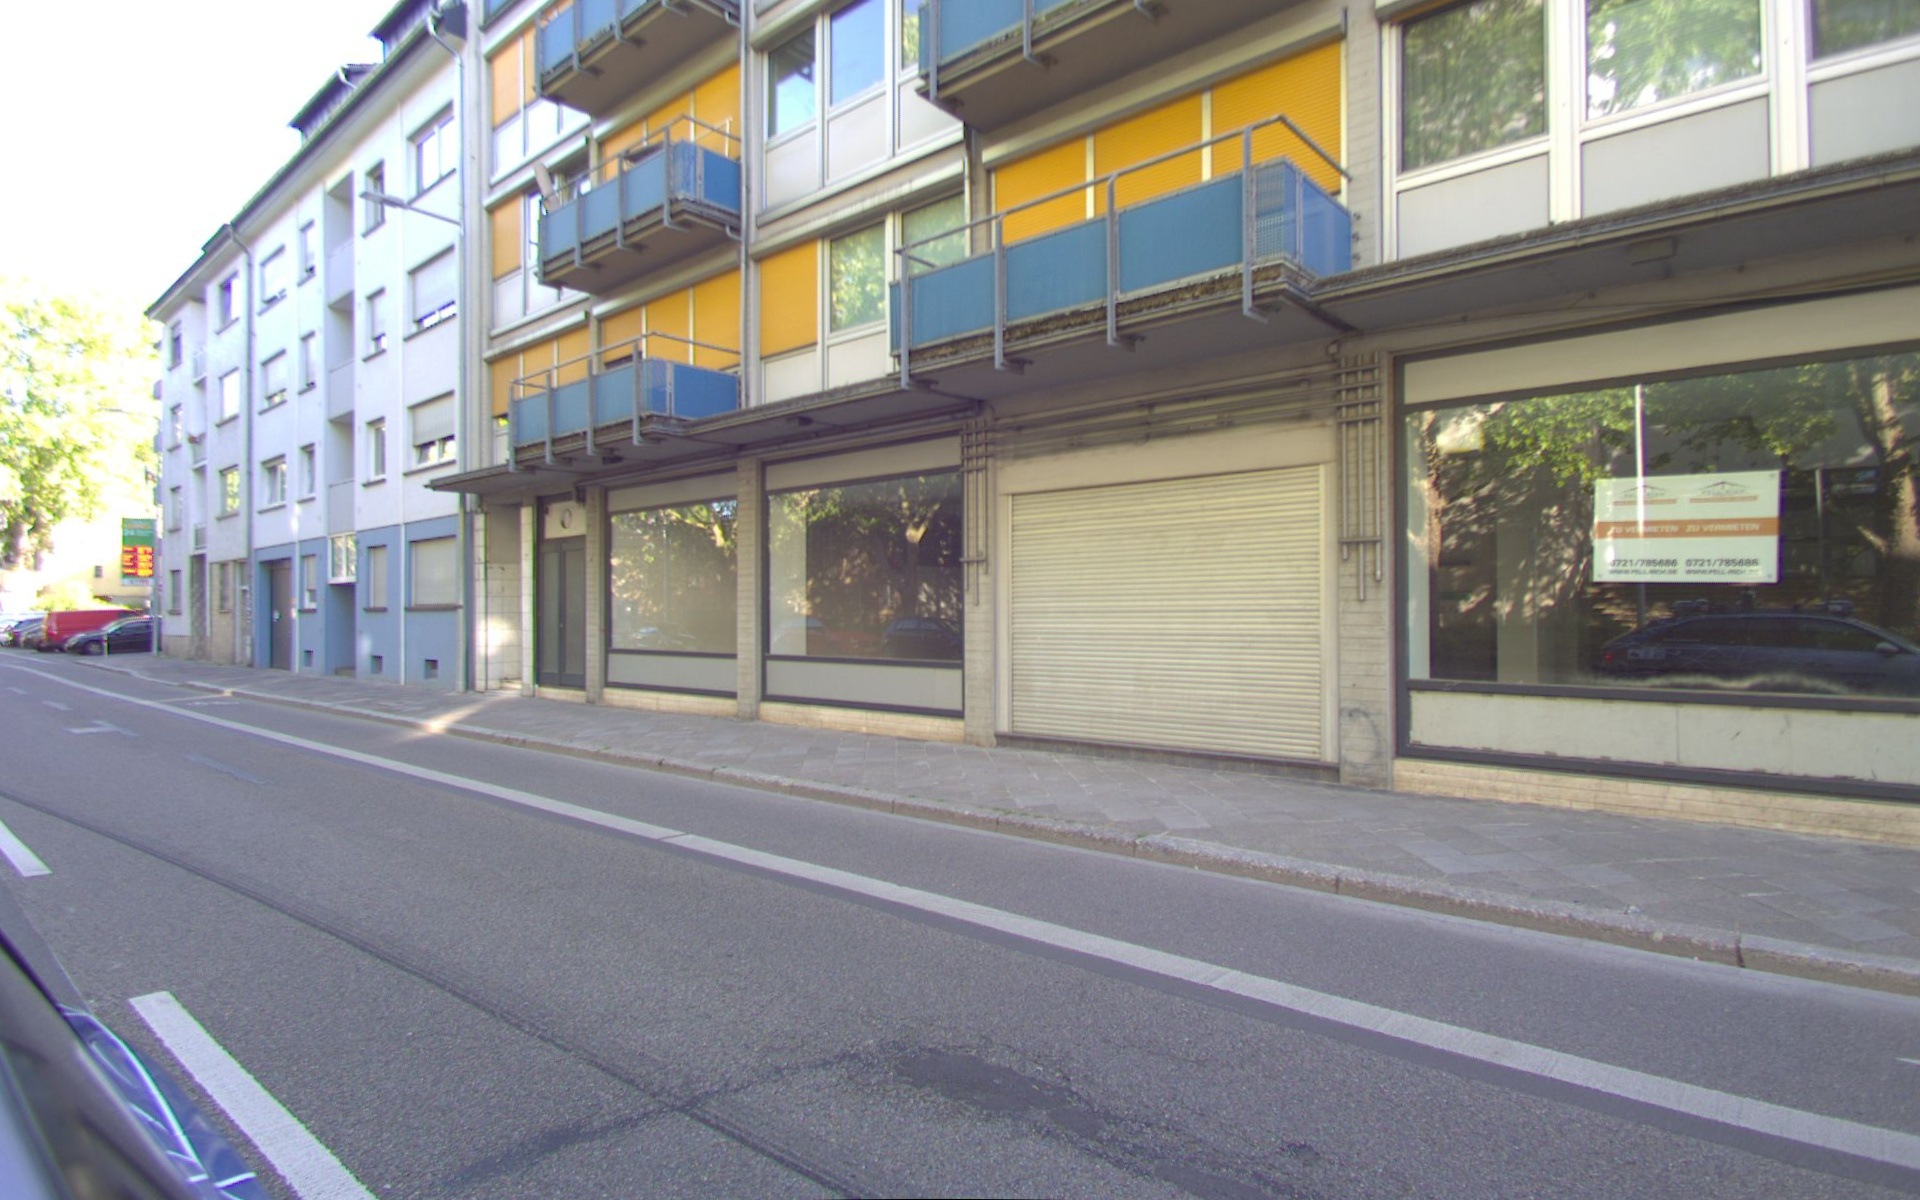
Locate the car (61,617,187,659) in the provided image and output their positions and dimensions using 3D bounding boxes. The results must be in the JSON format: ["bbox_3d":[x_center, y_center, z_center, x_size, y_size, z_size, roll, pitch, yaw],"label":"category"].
[{"bbox_3d":[-37.948,1.691,45.989,1.886,1.575,4.129,-1,1,41],"label":"car"}]

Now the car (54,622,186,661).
[{"bbox_3d":[-36.626,1.774,44.206,2.045,1.390,4.184,-1,1,41],"label":"car"}]

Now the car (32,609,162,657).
[{"bbox_3d":[-40.573,1.520,47.659,2.145,1.966,4.375,-2,1,41],"label":"car"}]

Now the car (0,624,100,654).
[{"bbox_3d":[-50.479,2.123,56.172,1.915,1.466,3.945,-2,0,41],"label":"car"}]

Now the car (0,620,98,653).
[{"bbox_3d":[-52.536,2.058,58.262,2.027,1.696,4.150,-1,0,41],"label":"car"}]

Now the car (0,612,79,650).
[{"bbox_3d":[-59.428,1.991,64.388,2.139,2.233,4.794,-1,1,41],"label":"car"}]

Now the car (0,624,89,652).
[{"bbox_3d":[-54.393,2.247,59.979,1.852,1.444,3.945,-2,0,41],"label":"car"}]

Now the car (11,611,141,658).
[{"bbox_3d":[-42.892,1.620,49.187,2.056,1.966,4.475,-2,1,41],"label":"car"}]

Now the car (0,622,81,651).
[{"bbox_3d":[-56.039,2.217,61.326,1.852,1.571,3.945,-2,0,41],"label":"car"}]

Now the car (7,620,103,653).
[{"bbox_3d":[-48.860,1.953,54.704,1.830,1.524,3.647,-1,1,41],"label":"car"}]
